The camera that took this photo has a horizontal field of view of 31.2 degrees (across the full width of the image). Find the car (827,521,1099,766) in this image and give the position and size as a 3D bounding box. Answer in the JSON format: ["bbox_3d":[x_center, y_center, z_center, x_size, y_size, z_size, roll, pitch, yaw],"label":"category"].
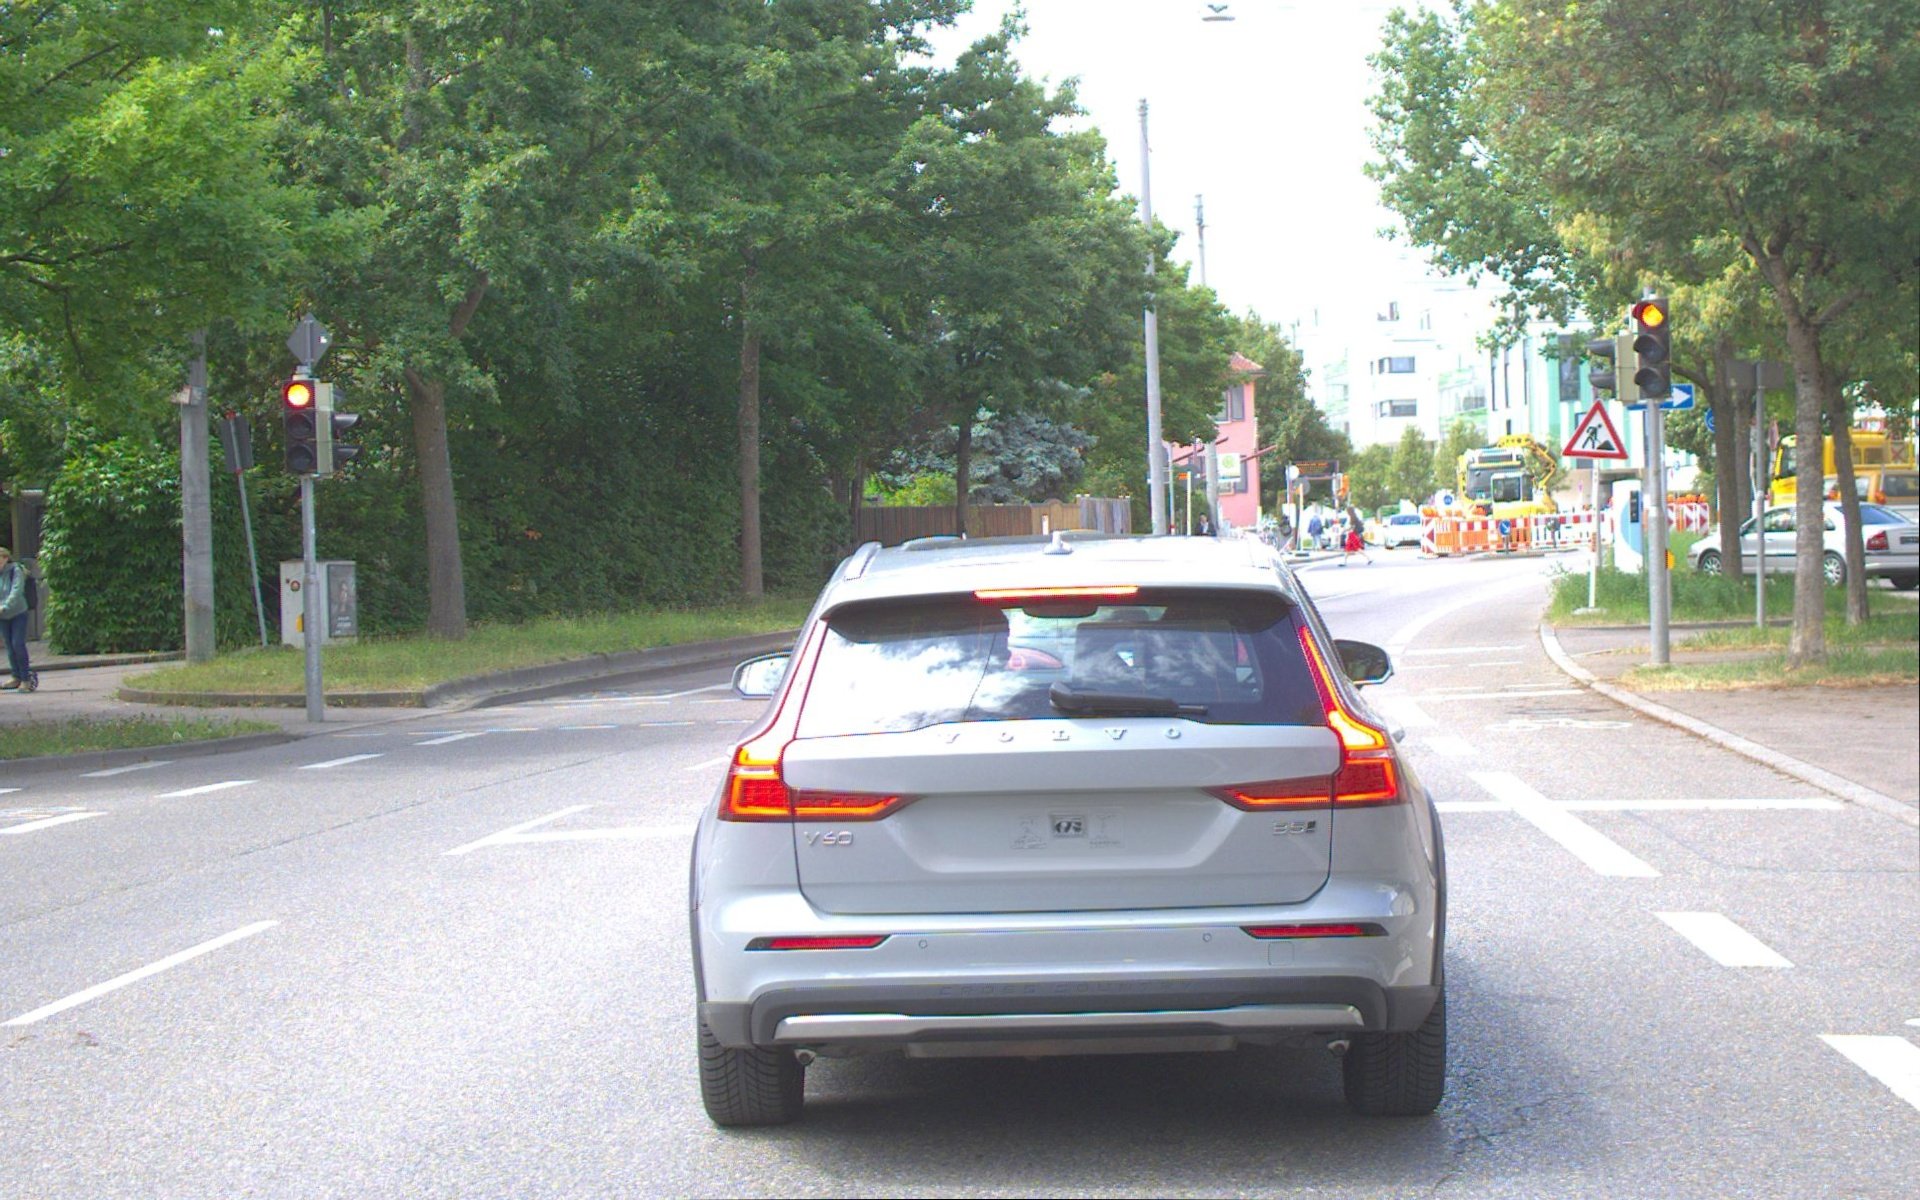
[{"bbox_3d":[-0.030,0.291,25.515,1.804,1.611,4.329,2,0,-1],"label":"car"}]

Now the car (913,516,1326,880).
[{"bbox_3d":[0.839,0.384,17.528,1.804,1.518,4.329,2,2,3],"label":"car"}]

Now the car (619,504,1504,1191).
[{"bbox_3d":[0.341,0.506,9.866,1.956,1.518,4.329,-1,1,3],"label":"car"}]

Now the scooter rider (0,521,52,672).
[{"bbox_3d":[-10.936,-0.037,39.632,0.705,1.721,0.680,-1,0,-36],"label":"scooter rider"}]

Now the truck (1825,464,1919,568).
[{"bbox_3d":[20.398,-1.688,70.131,5.597,2.007,2.089,-1,0,-34],"label":"truck"}]

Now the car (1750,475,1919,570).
[{"bbox_3d":[19.166,-1.679,75.086,3.756,2.007,1.742,-1,0,-38],"label":"car"}]

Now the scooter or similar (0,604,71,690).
[{"bbox_3d":[-10.863,0.535,39.682,0.953,0.958,0.690,-2,1,-37],"label":"scooter or similar"}]
